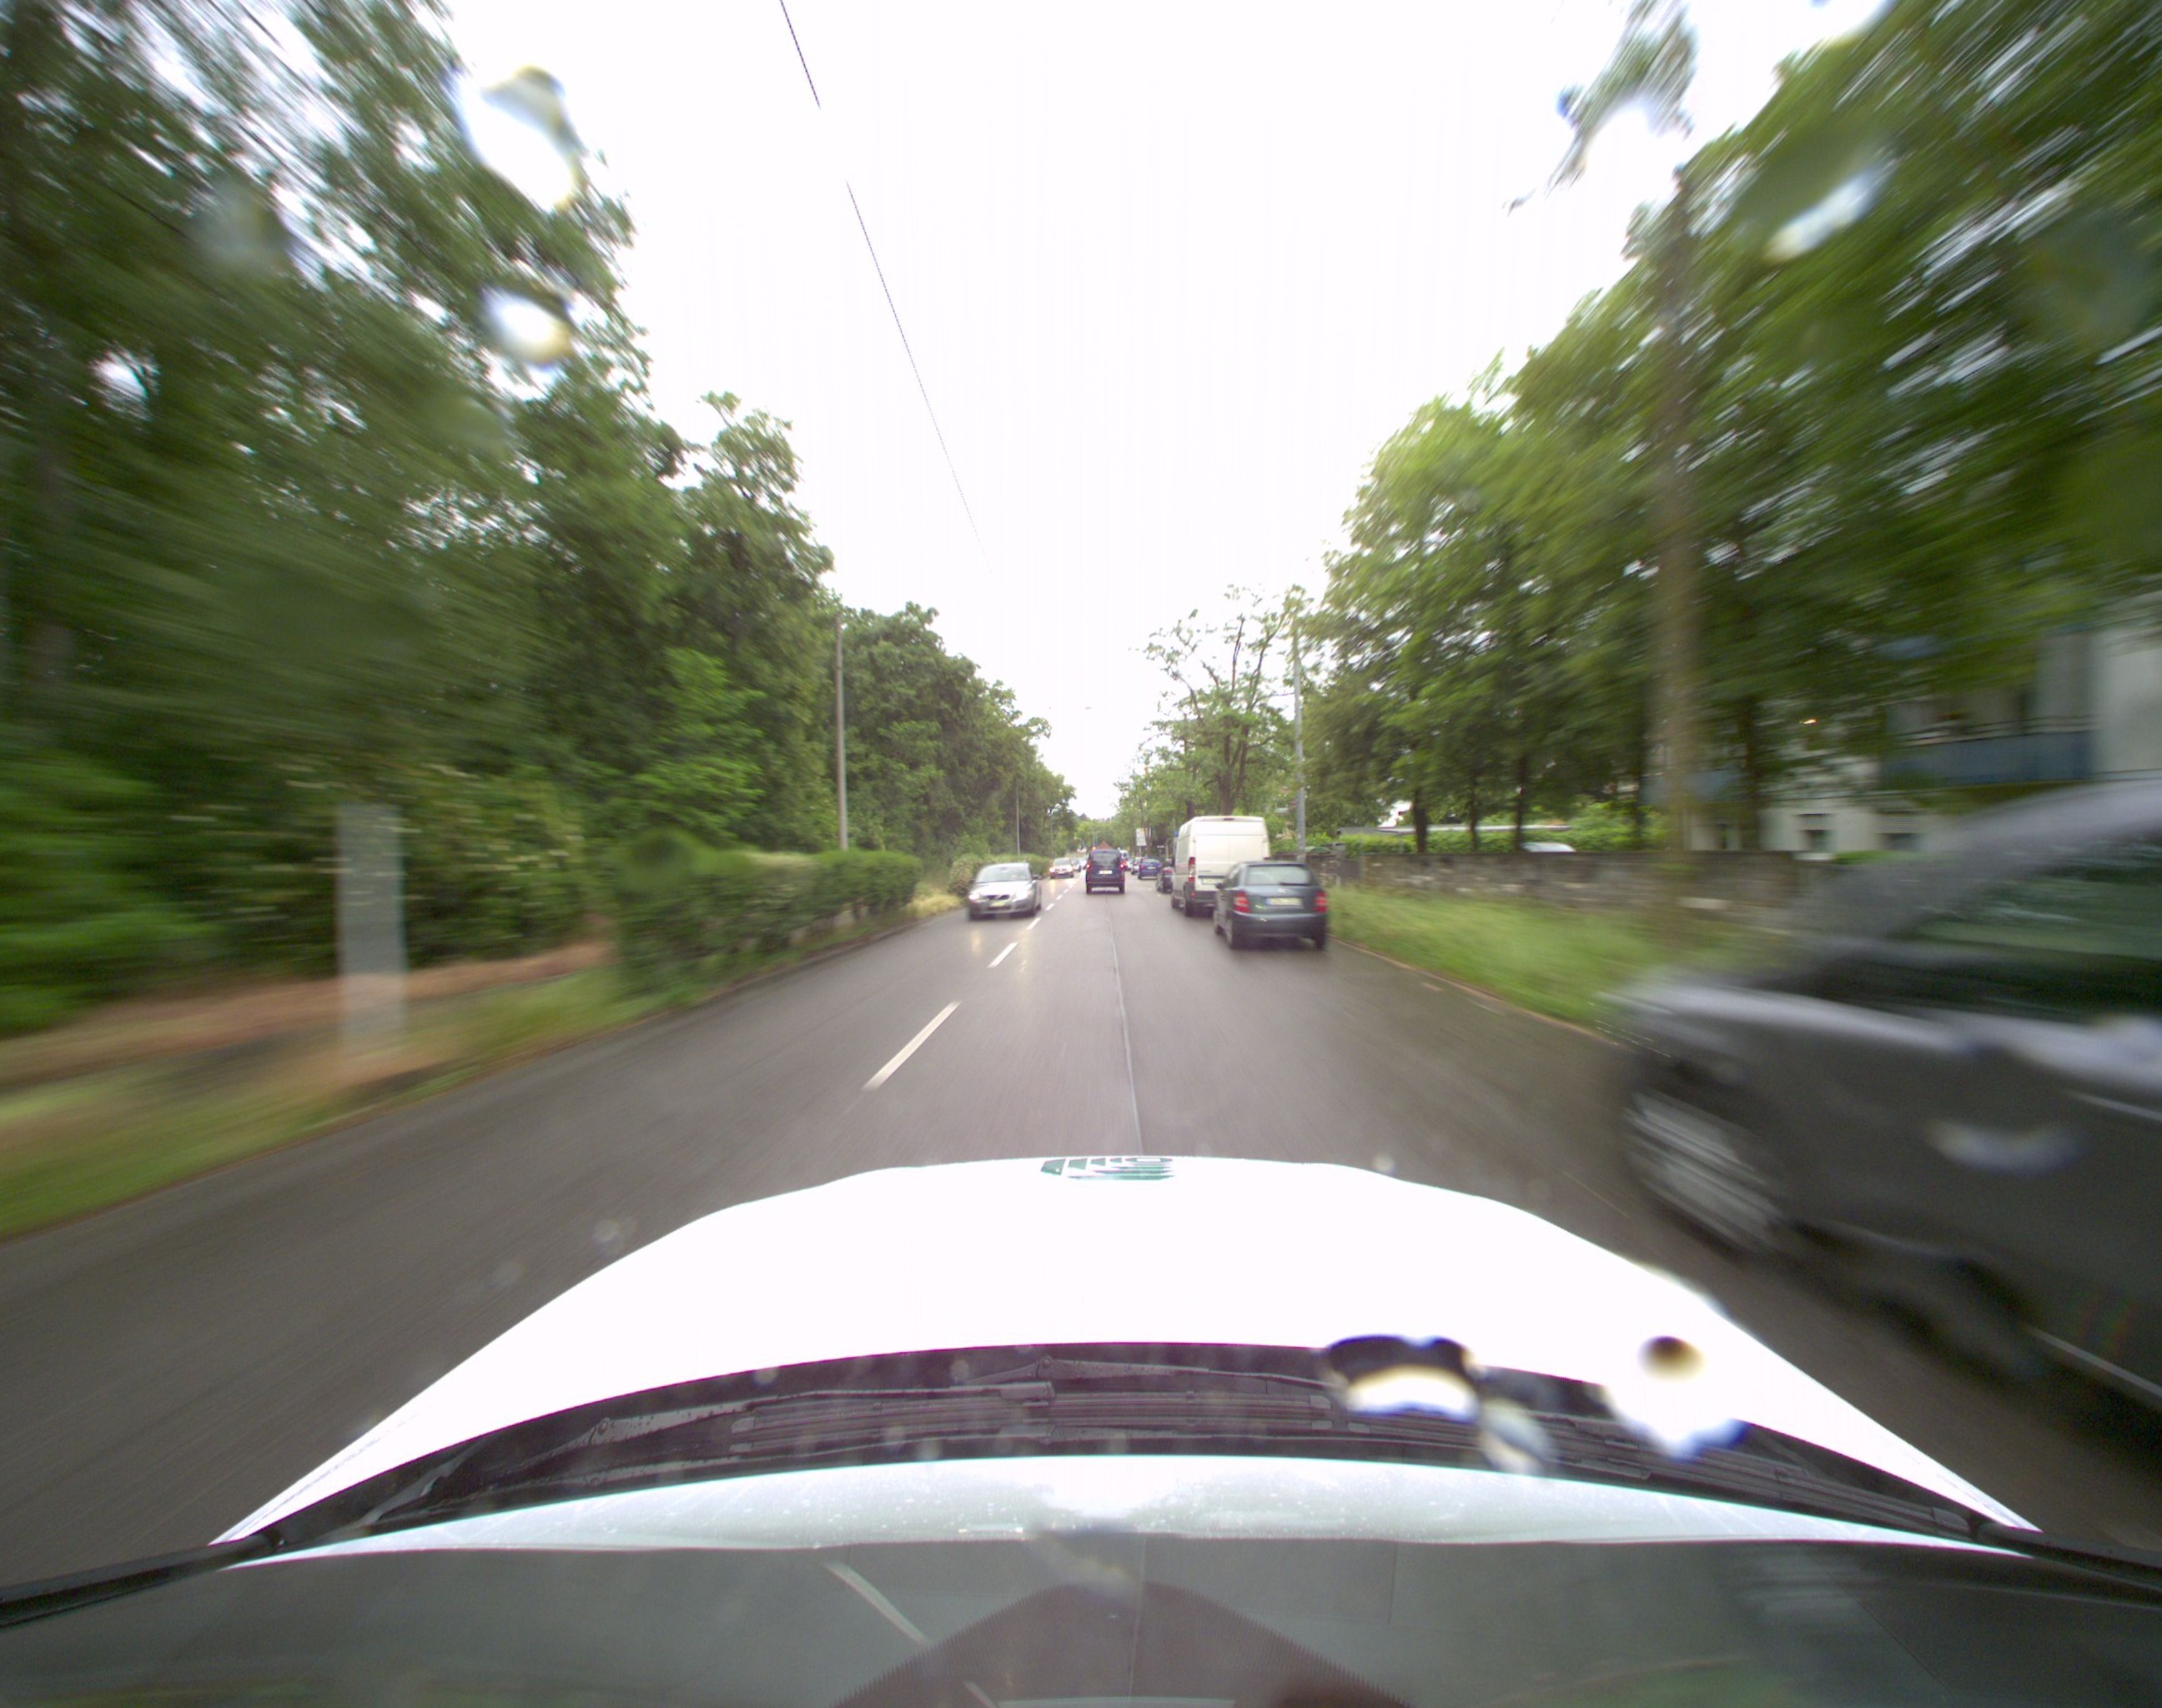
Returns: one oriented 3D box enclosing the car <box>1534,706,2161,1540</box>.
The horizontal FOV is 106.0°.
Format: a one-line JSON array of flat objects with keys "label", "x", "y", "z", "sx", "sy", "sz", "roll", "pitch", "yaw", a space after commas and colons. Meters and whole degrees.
[{"label": "car", "x": 3.254, "y": 0.579, "z": 2.097, "sx": 1.809, "sy": 1.813, "sz": 4.282, "roll": 0, "pitch": 1, "yaw": 0}]
